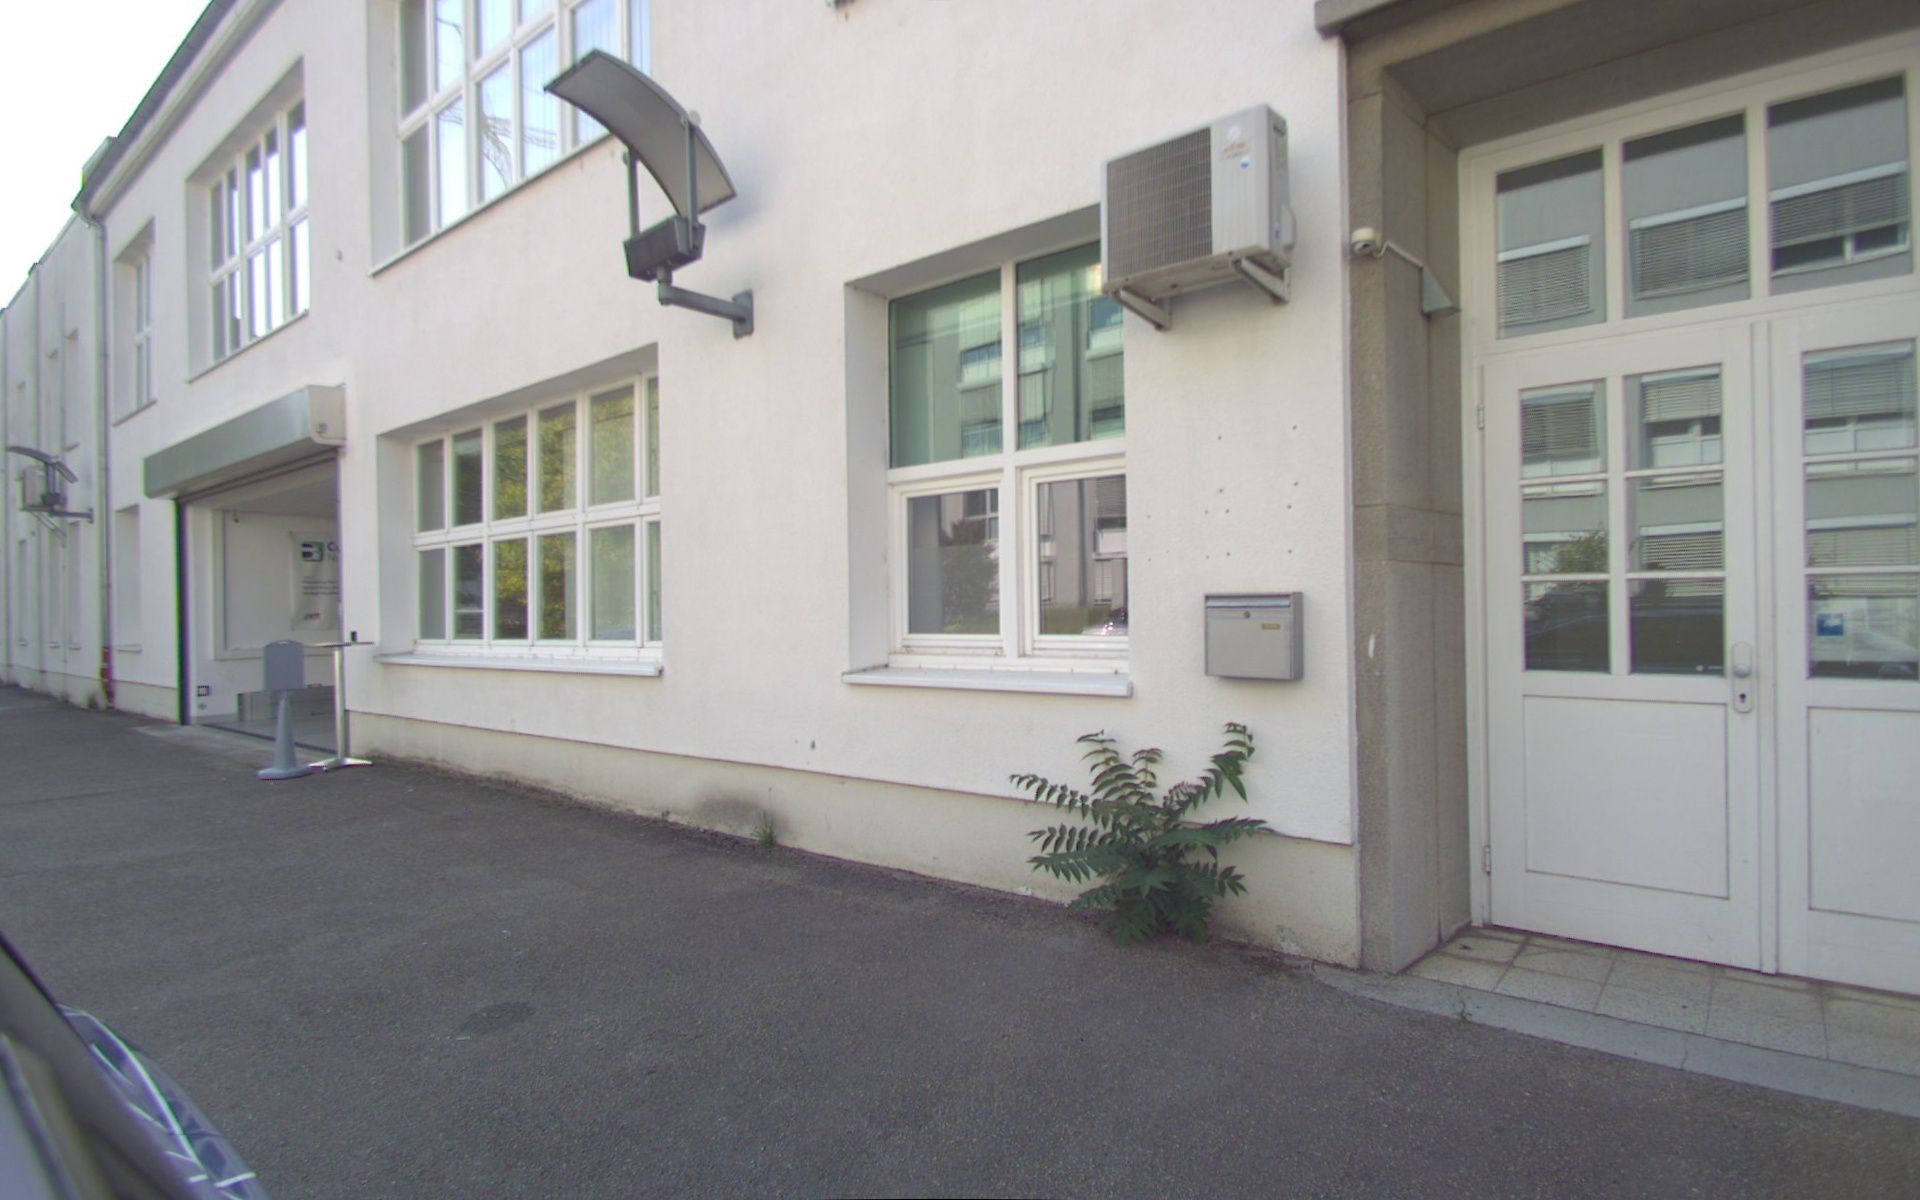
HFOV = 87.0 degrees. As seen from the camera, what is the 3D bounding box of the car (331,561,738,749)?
[{"bbox_3d":[-5.588,0.588,13.834,2.054,2.108,4.699,-1,0,40],"label":"car"}]
